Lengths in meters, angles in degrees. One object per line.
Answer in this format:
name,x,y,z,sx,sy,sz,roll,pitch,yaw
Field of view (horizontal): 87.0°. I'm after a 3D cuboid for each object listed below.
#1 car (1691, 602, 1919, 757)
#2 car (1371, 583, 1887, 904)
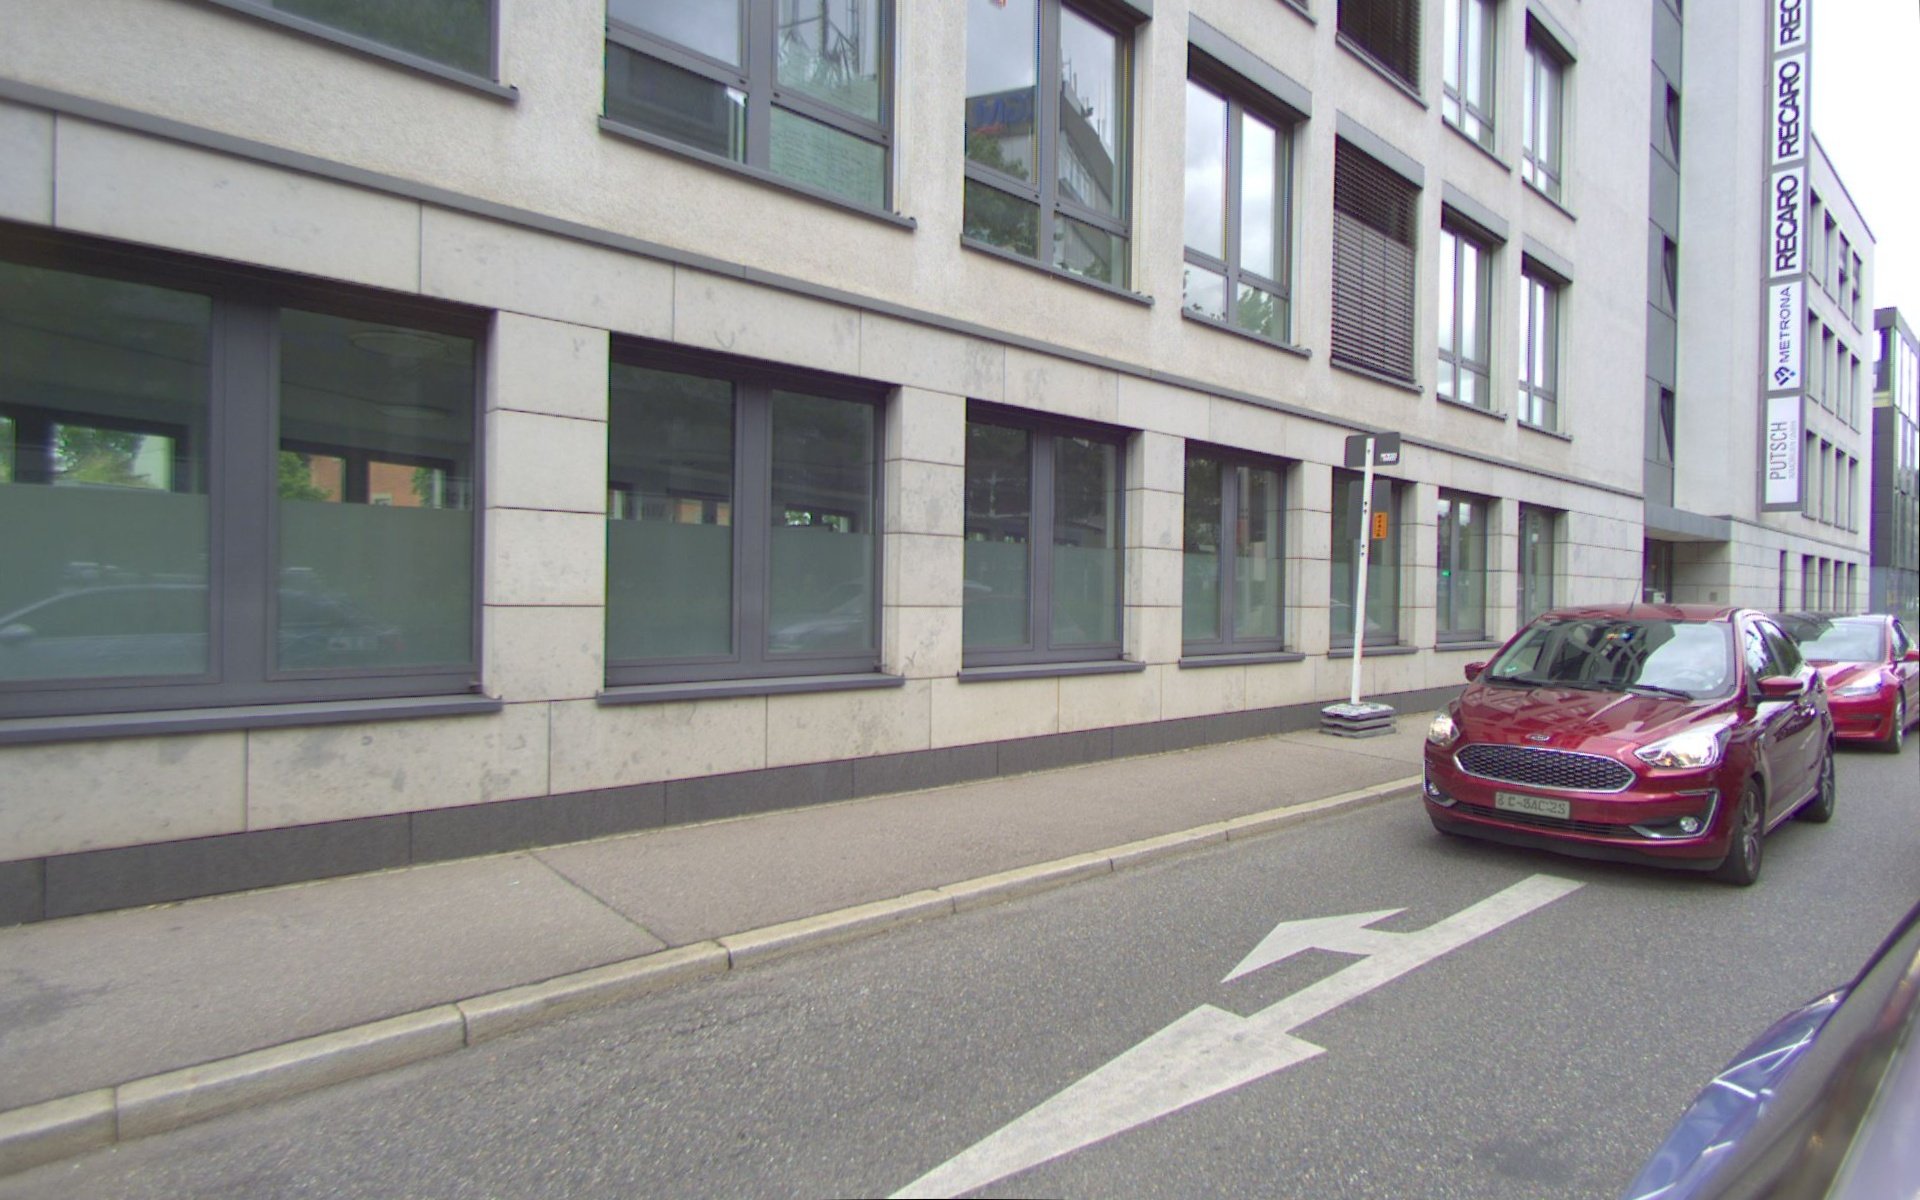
car,10.199,0.771,11.759,4.331,1.476,1.823,0,-1,-41
car,4.634,0.701,6.798,3.930,1.511,1.888,0,-2,-41
